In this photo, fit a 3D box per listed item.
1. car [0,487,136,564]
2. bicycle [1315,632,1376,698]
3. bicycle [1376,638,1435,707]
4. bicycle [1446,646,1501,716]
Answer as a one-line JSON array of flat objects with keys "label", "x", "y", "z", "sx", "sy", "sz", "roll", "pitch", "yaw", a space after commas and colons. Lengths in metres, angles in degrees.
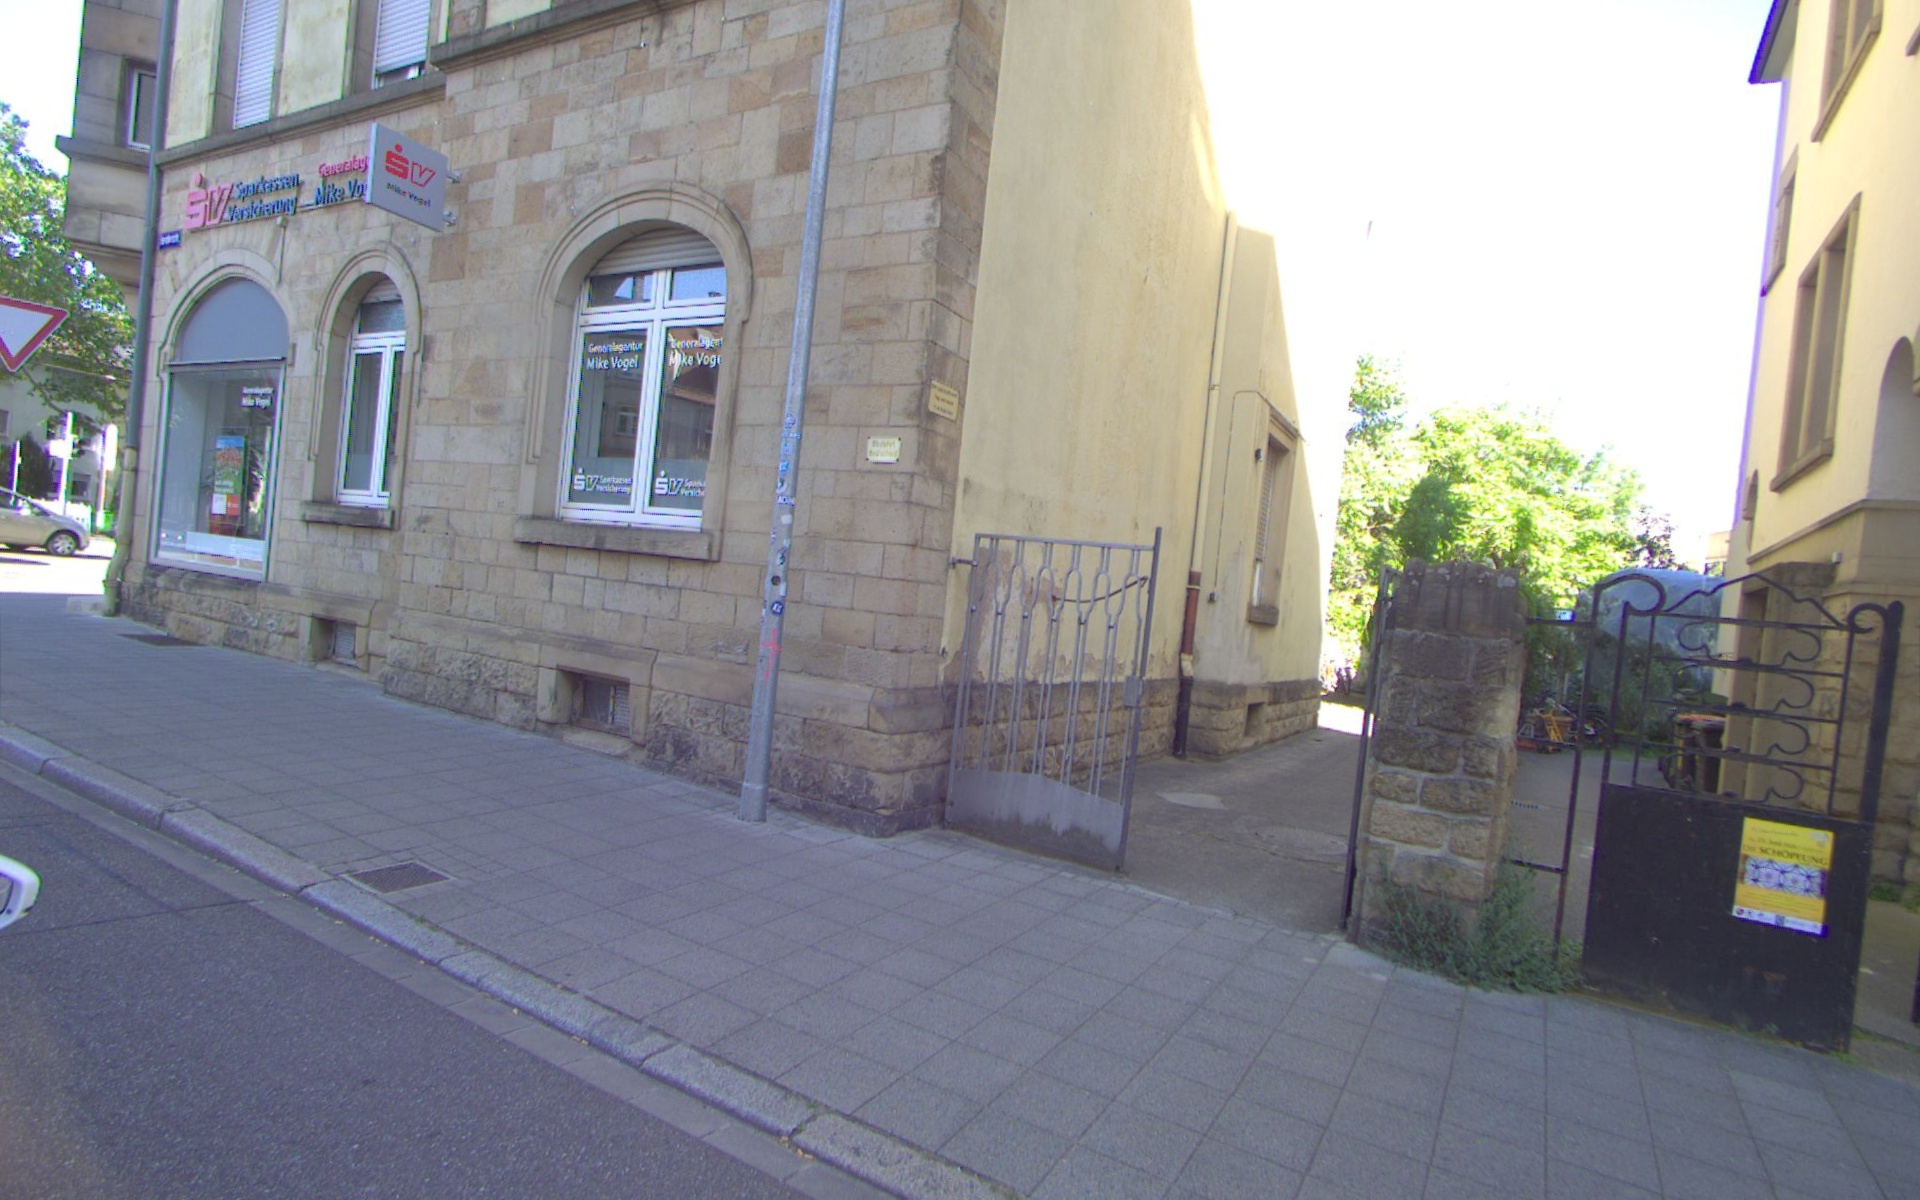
[{"label": "car", "x": -21.477, "y": -1.784, "z": 22.666, "sx": 1.647, "sy": 1.475, "sz": 4.215, "roll": 7, "pitch": 0, "yaw": 16}, {"label": "bicycle", "x": 9.975, "y": 1.643, "z": 25.968, "sx": 0.904, "sy": 1.532, "sz": 2.667, "roll": 6, "pitch": 2, "yaw": 31}, {"label": "bicycle", "x": 11.209, "y": 1.778, "z": 25.251, "sx": 0.904, "sy": 1.532, "sz": 2.667, "roll": 6, "pitch": 2, "yaw": 31}, {"label": "bicycle", "x": 12.594, "y": 1.937, "z": 24.637, "sx": 0.904, "sy": 1.532, "sz": 2.667, "roll": 6, "pitch": 2, "yaw": 31}]
